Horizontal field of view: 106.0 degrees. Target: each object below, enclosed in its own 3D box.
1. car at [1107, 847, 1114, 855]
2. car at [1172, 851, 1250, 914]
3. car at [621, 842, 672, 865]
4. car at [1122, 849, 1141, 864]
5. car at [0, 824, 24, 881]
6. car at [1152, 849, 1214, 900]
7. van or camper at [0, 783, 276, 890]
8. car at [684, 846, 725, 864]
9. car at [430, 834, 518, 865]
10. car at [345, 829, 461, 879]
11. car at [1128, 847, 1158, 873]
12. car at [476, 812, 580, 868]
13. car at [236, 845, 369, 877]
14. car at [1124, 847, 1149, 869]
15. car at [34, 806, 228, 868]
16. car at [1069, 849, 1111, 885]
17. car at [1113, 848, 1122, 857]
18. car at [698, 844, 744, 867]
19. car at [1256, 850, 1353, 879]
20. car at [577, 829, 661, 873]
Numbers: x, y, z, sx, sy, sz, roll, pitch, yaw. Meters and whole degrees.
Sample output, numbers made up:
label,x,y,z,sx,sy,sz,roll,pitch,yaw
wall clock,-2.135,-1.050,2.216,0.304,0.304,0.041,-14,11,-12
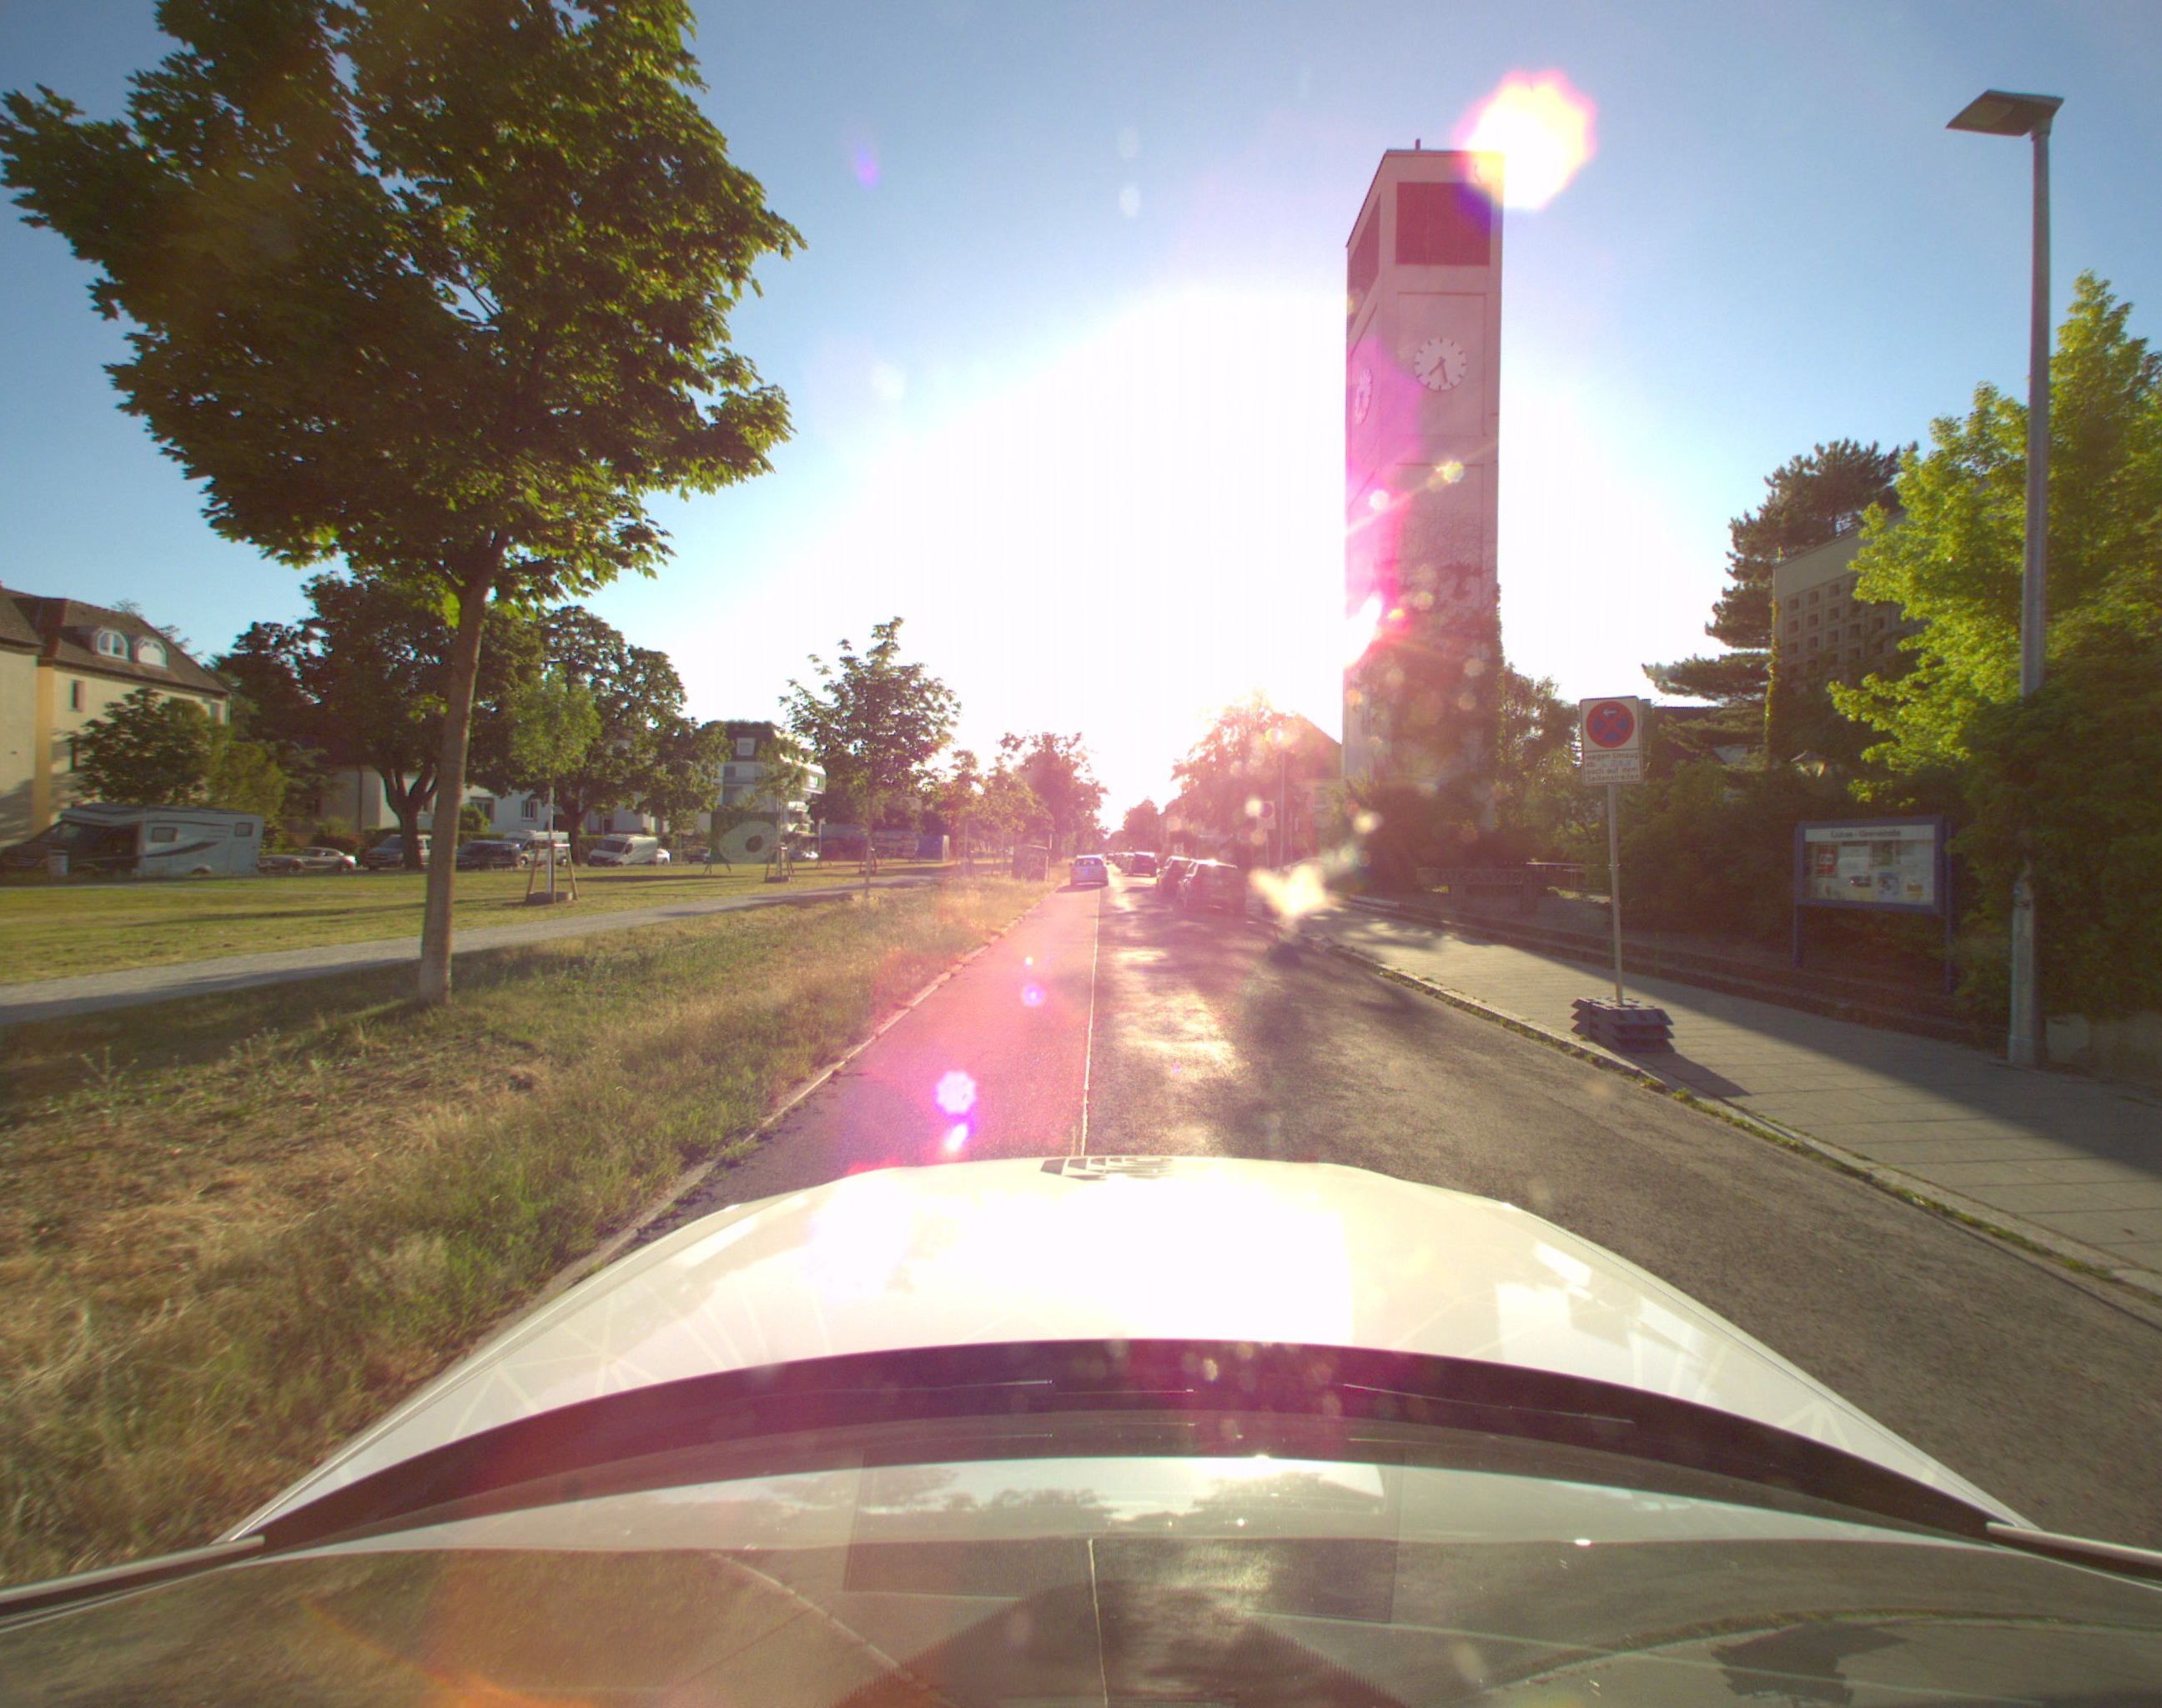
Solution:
label,x,y,z,sx,sy,sz,roll,pitch,yaw
car,7.866,-0.694,215.820,1.981,2.023,4.002,1,0,2
car,3.743,0.759,24.062,1.681,1.527,4.177,4,1,2
car,-37.929,0.001,71.209,1.724,1.854,4.715,-3,-1,1
car,5.379,0.254,87.076,1.985,1.462,4.565,2,0,3
car,-39.199,-0.037,26.862,1.962,2.004,5.052,1,0,2
car,3.790,0.699,30.920,1.815,1.561,4.624,6,1,2
van or camper,-33.010,-0.579,28.495,2.631,3.262,6.909,0,1,2
car,-37.648,0.108,81.482,1.775,1.702,4.668,-3,-1,1
car,-32.419,-0.219,43.635,1.409,1.564,4.310,1,0,0
car,-38.677,0.042,46.686,2.129,2.604,5.324,-3,-1,0
car,4.443,0.405,59.266,1.826,1.732,5.033,3,0,1
car,-38.112,-0.890,56.453,2.295,3.559,6.767,-3,-1,2
car,-38.766,0.338,40.752,1.984,1.403,4.568,-3,-1,5
car,4.810,0.295,71.162,1.926,1.720,4.622,3,1,1
car,-33.010,-0.579,28.495,1.986,2.013,4.002,0,1,2
car,0.475,0.553,38.329,1.816,1.566,4.002,-1,1,2
car,7.024,-0.257,157.462,1.715,1.597,4.002,0,-1,2
car,-32.185,0.123,72.892,1.826,1.899,4.645,-3,-1,2
car,12.355,0.603,45.211,4.830,1.486,2.002,1,-3,0
car,-32.315,-0.160,57.256,2.252,2.826,5.873,-3,-1,2
